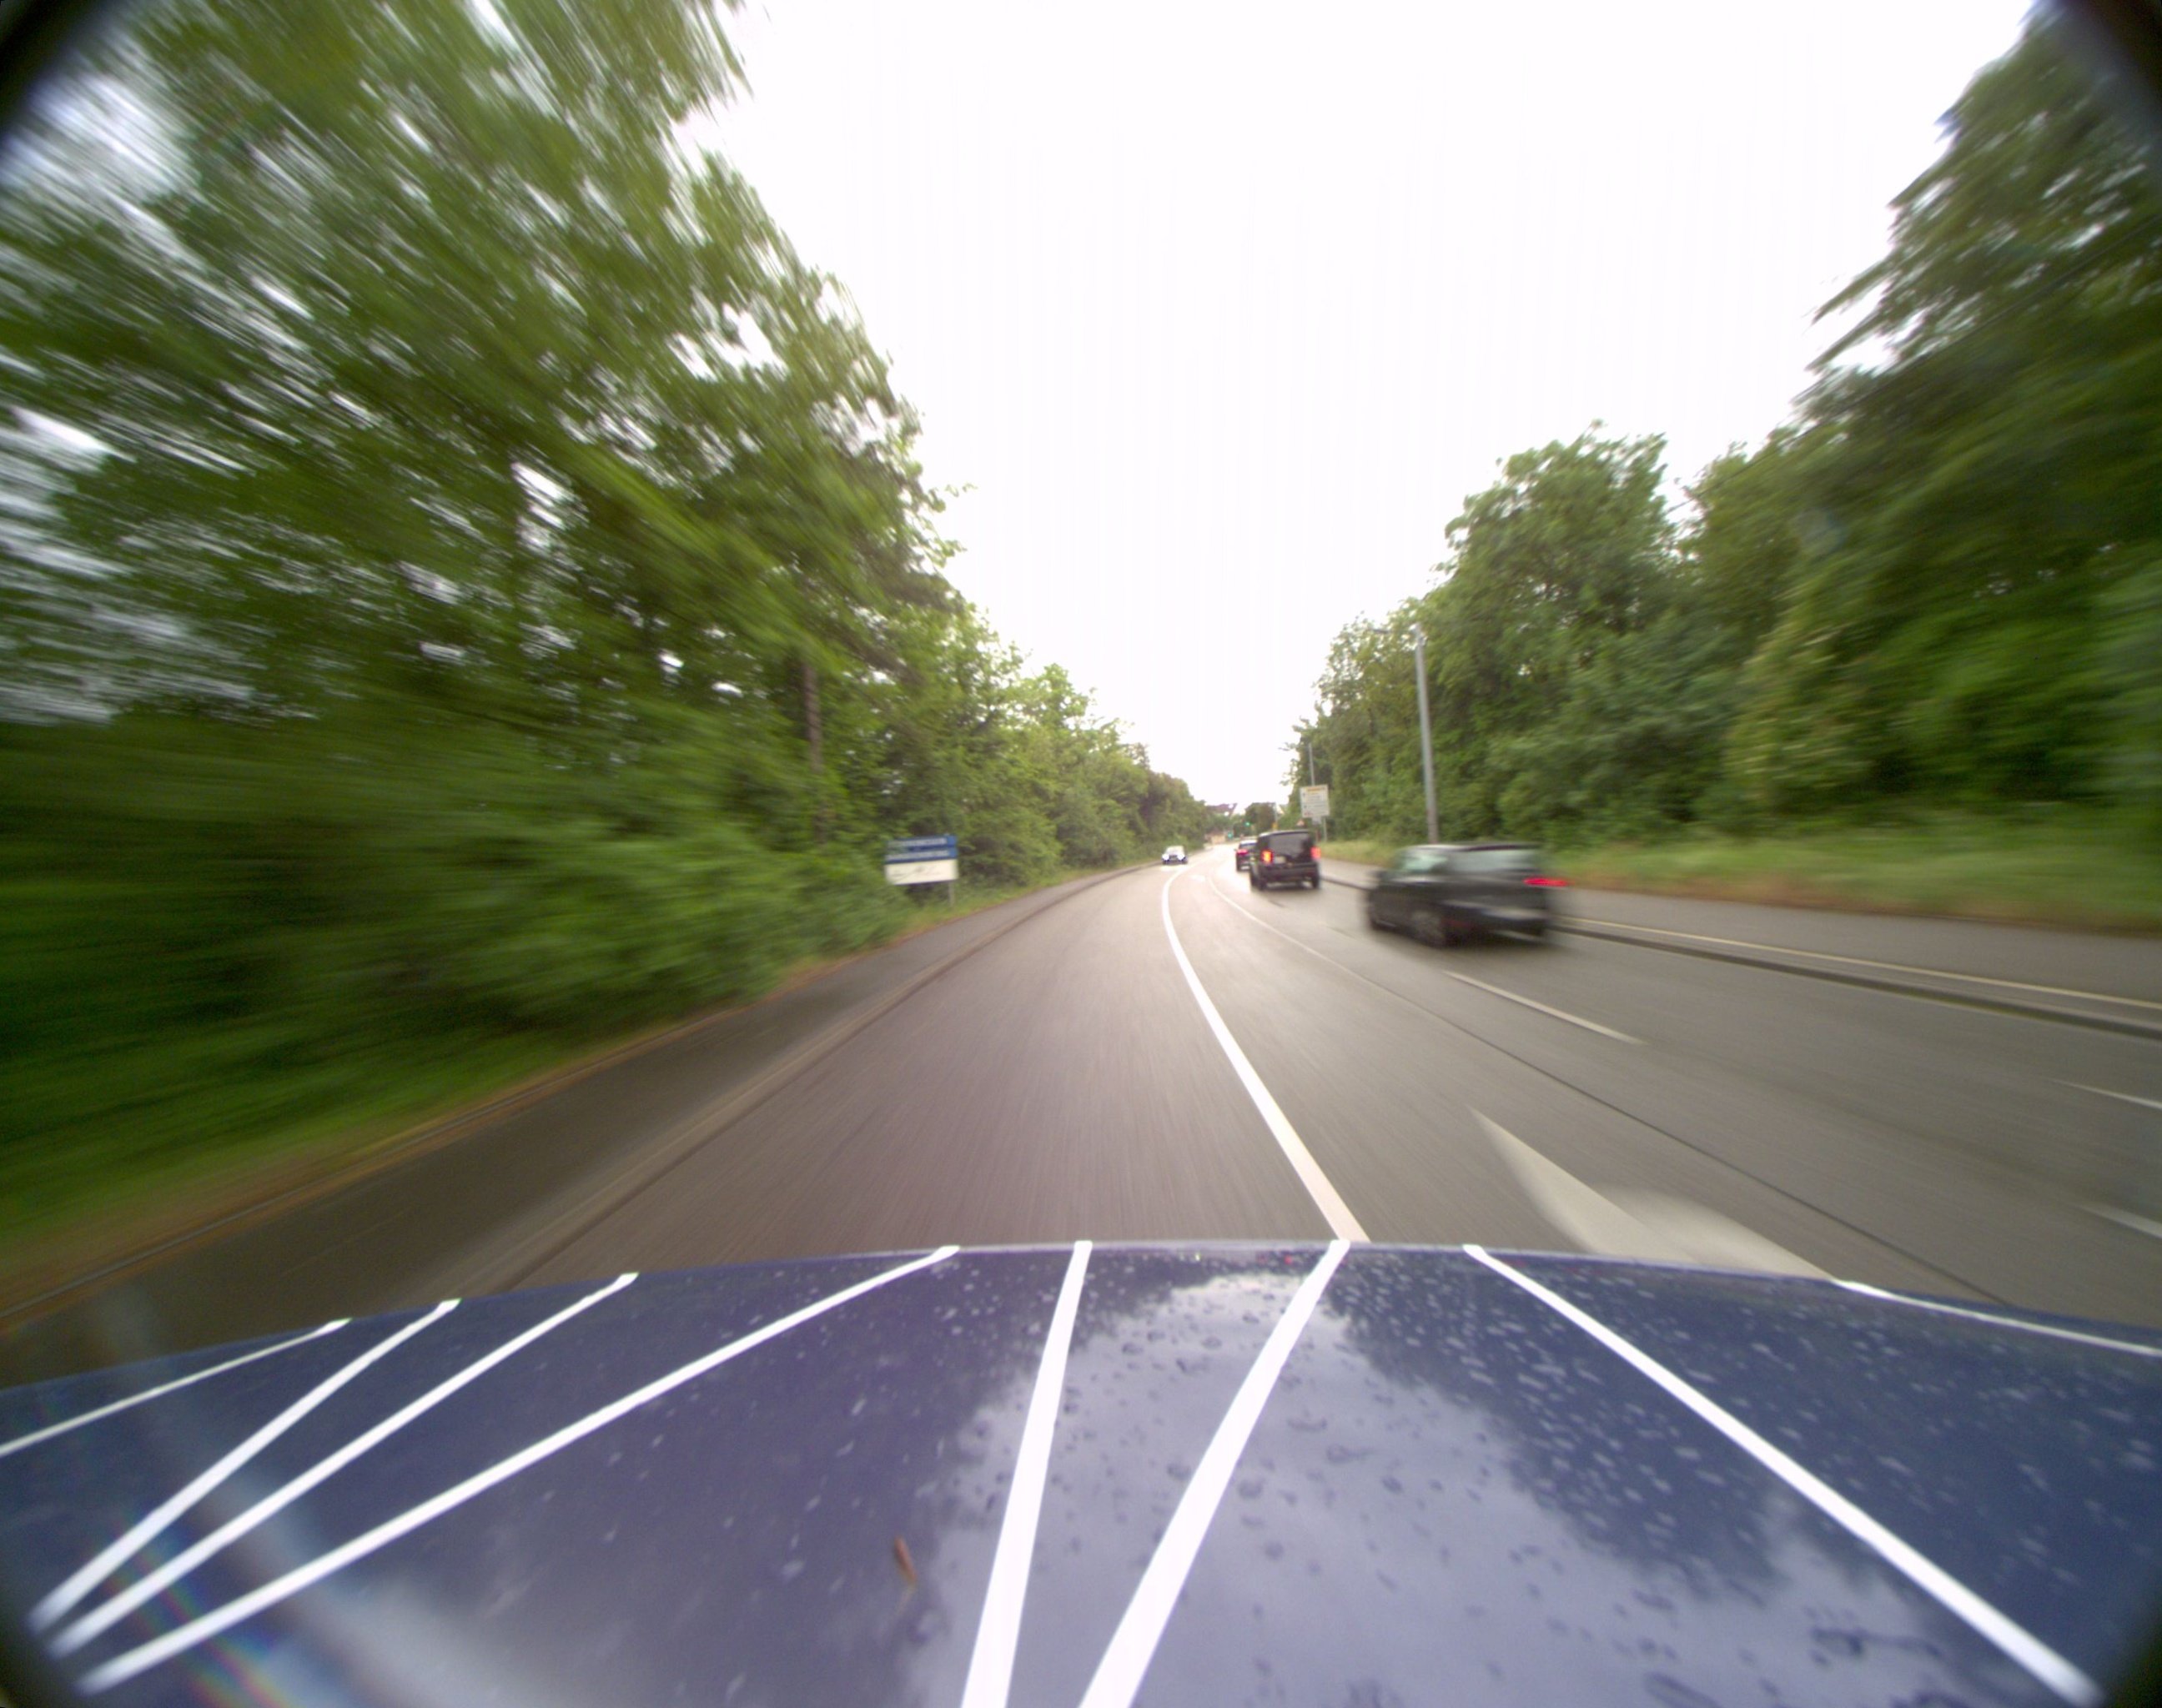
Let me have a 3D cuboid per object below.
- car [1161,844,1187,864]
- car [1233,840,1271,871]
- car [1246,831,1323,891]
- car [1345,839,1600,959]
[{"bbox_3d":[7.504,0.001,61.048,1.830,1.511,4.004,1,-1,11],"label":"car"},{"bbox_3d":[9.654,0.058,43.218,1.812,1.585,4.520,-3,1,10],"label":"car"},{"bbox_3d":[6.795,0.231,25.798,1.830,1.832,4.714,1,-1,7],"label":"car"},{"bbox_3d":[5.696,0.649,11.712,1.831,1.431,4.002,-4,-2,1],"label":"car"}]
